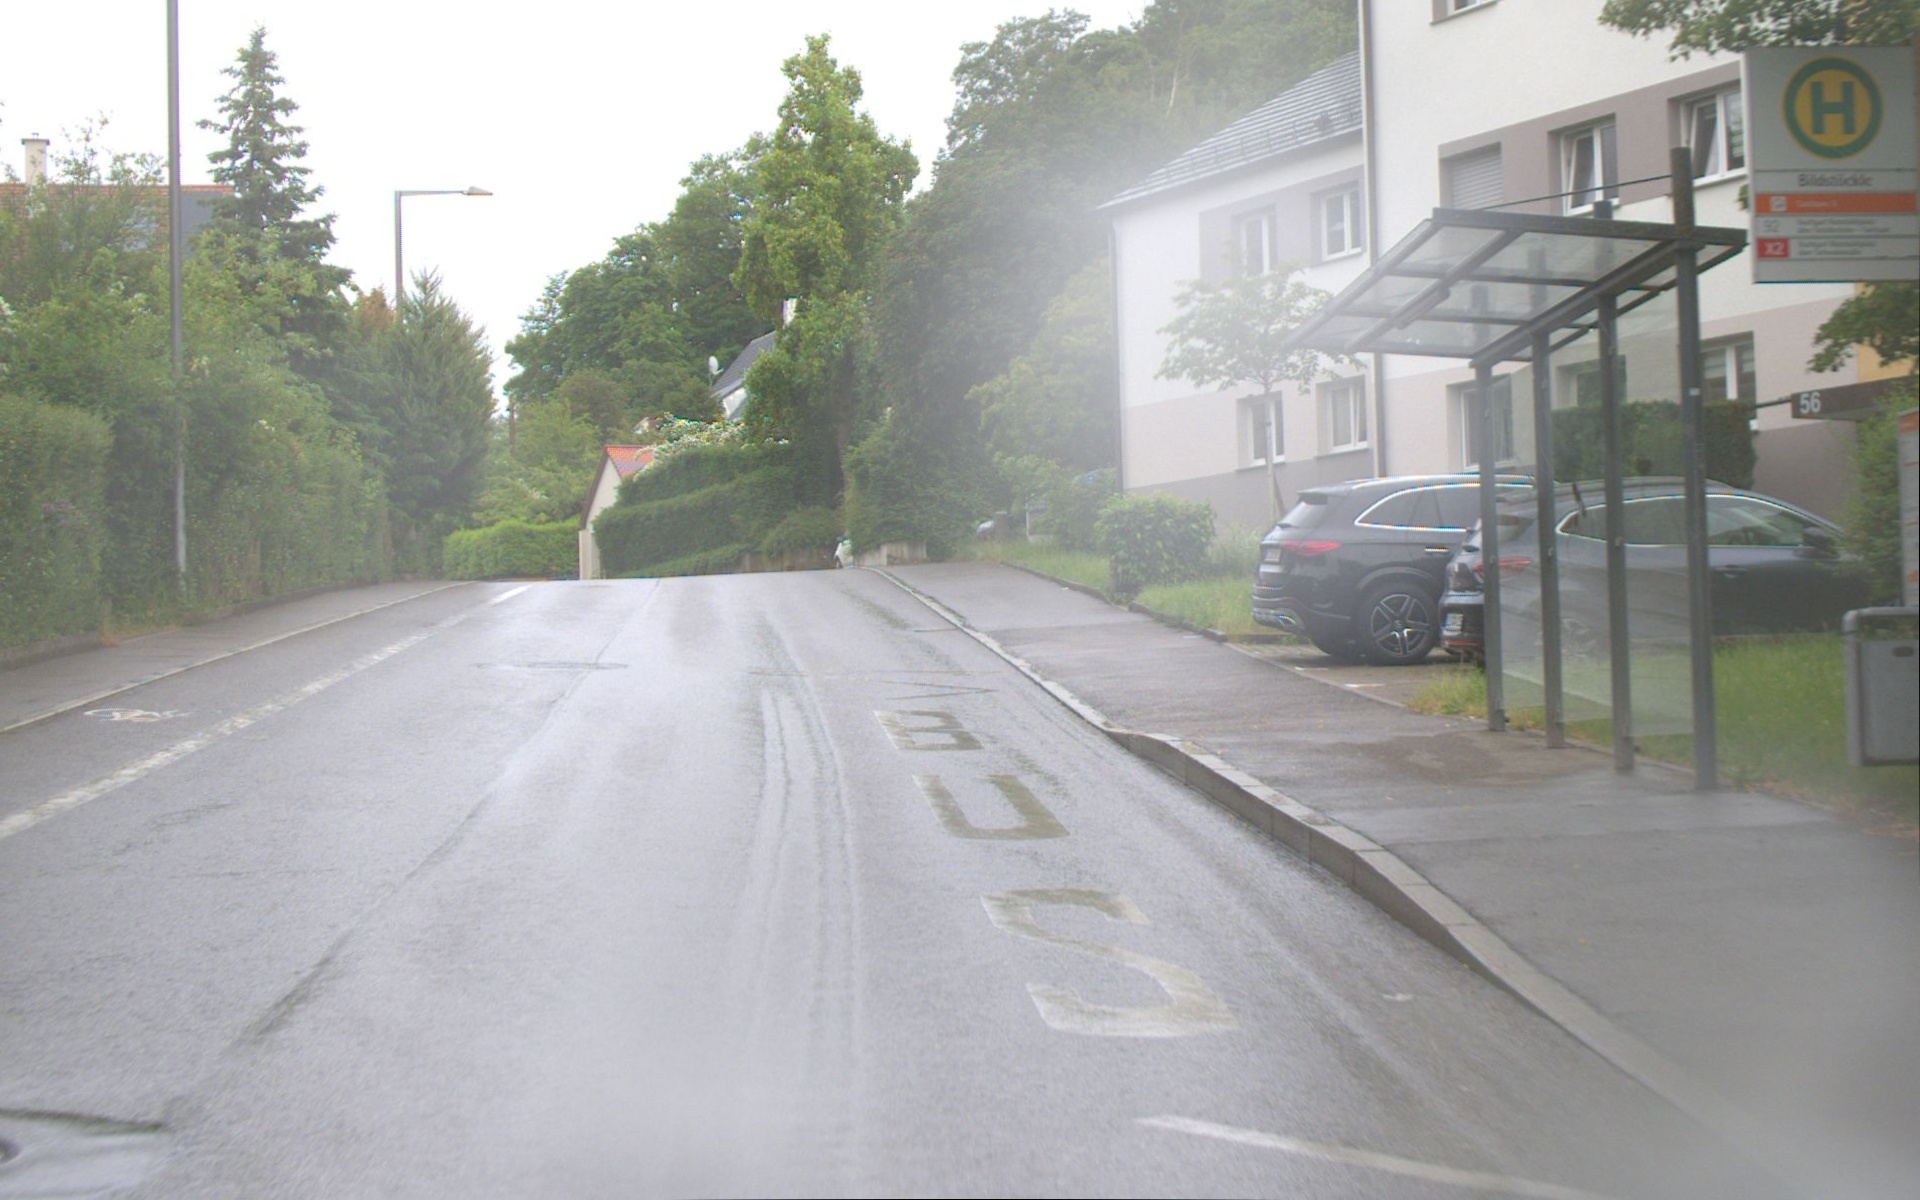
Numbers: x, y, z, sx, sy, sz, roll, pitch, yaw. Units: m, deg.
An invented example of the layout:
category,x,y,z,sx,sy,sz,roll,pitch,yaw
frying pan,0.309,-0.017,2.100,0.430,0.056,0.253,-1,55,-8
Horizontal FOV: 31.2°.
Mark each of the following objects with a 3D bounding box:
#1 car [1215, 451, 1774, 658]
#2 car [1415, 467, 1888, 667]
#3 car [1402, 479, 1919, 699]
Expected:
category,x,y,z,sx,sy,sz,roll,pitch,yaw
car,4.712,-0.437,30.579,4.525,1.655,1.857,-2,2,-9
car,5.598,-0.297,28.079,3.438,1.491,1.668,-2,2,-4
car,5.309,-0.113,25.440,3.742,1.453,1.725,-2,2,-4
